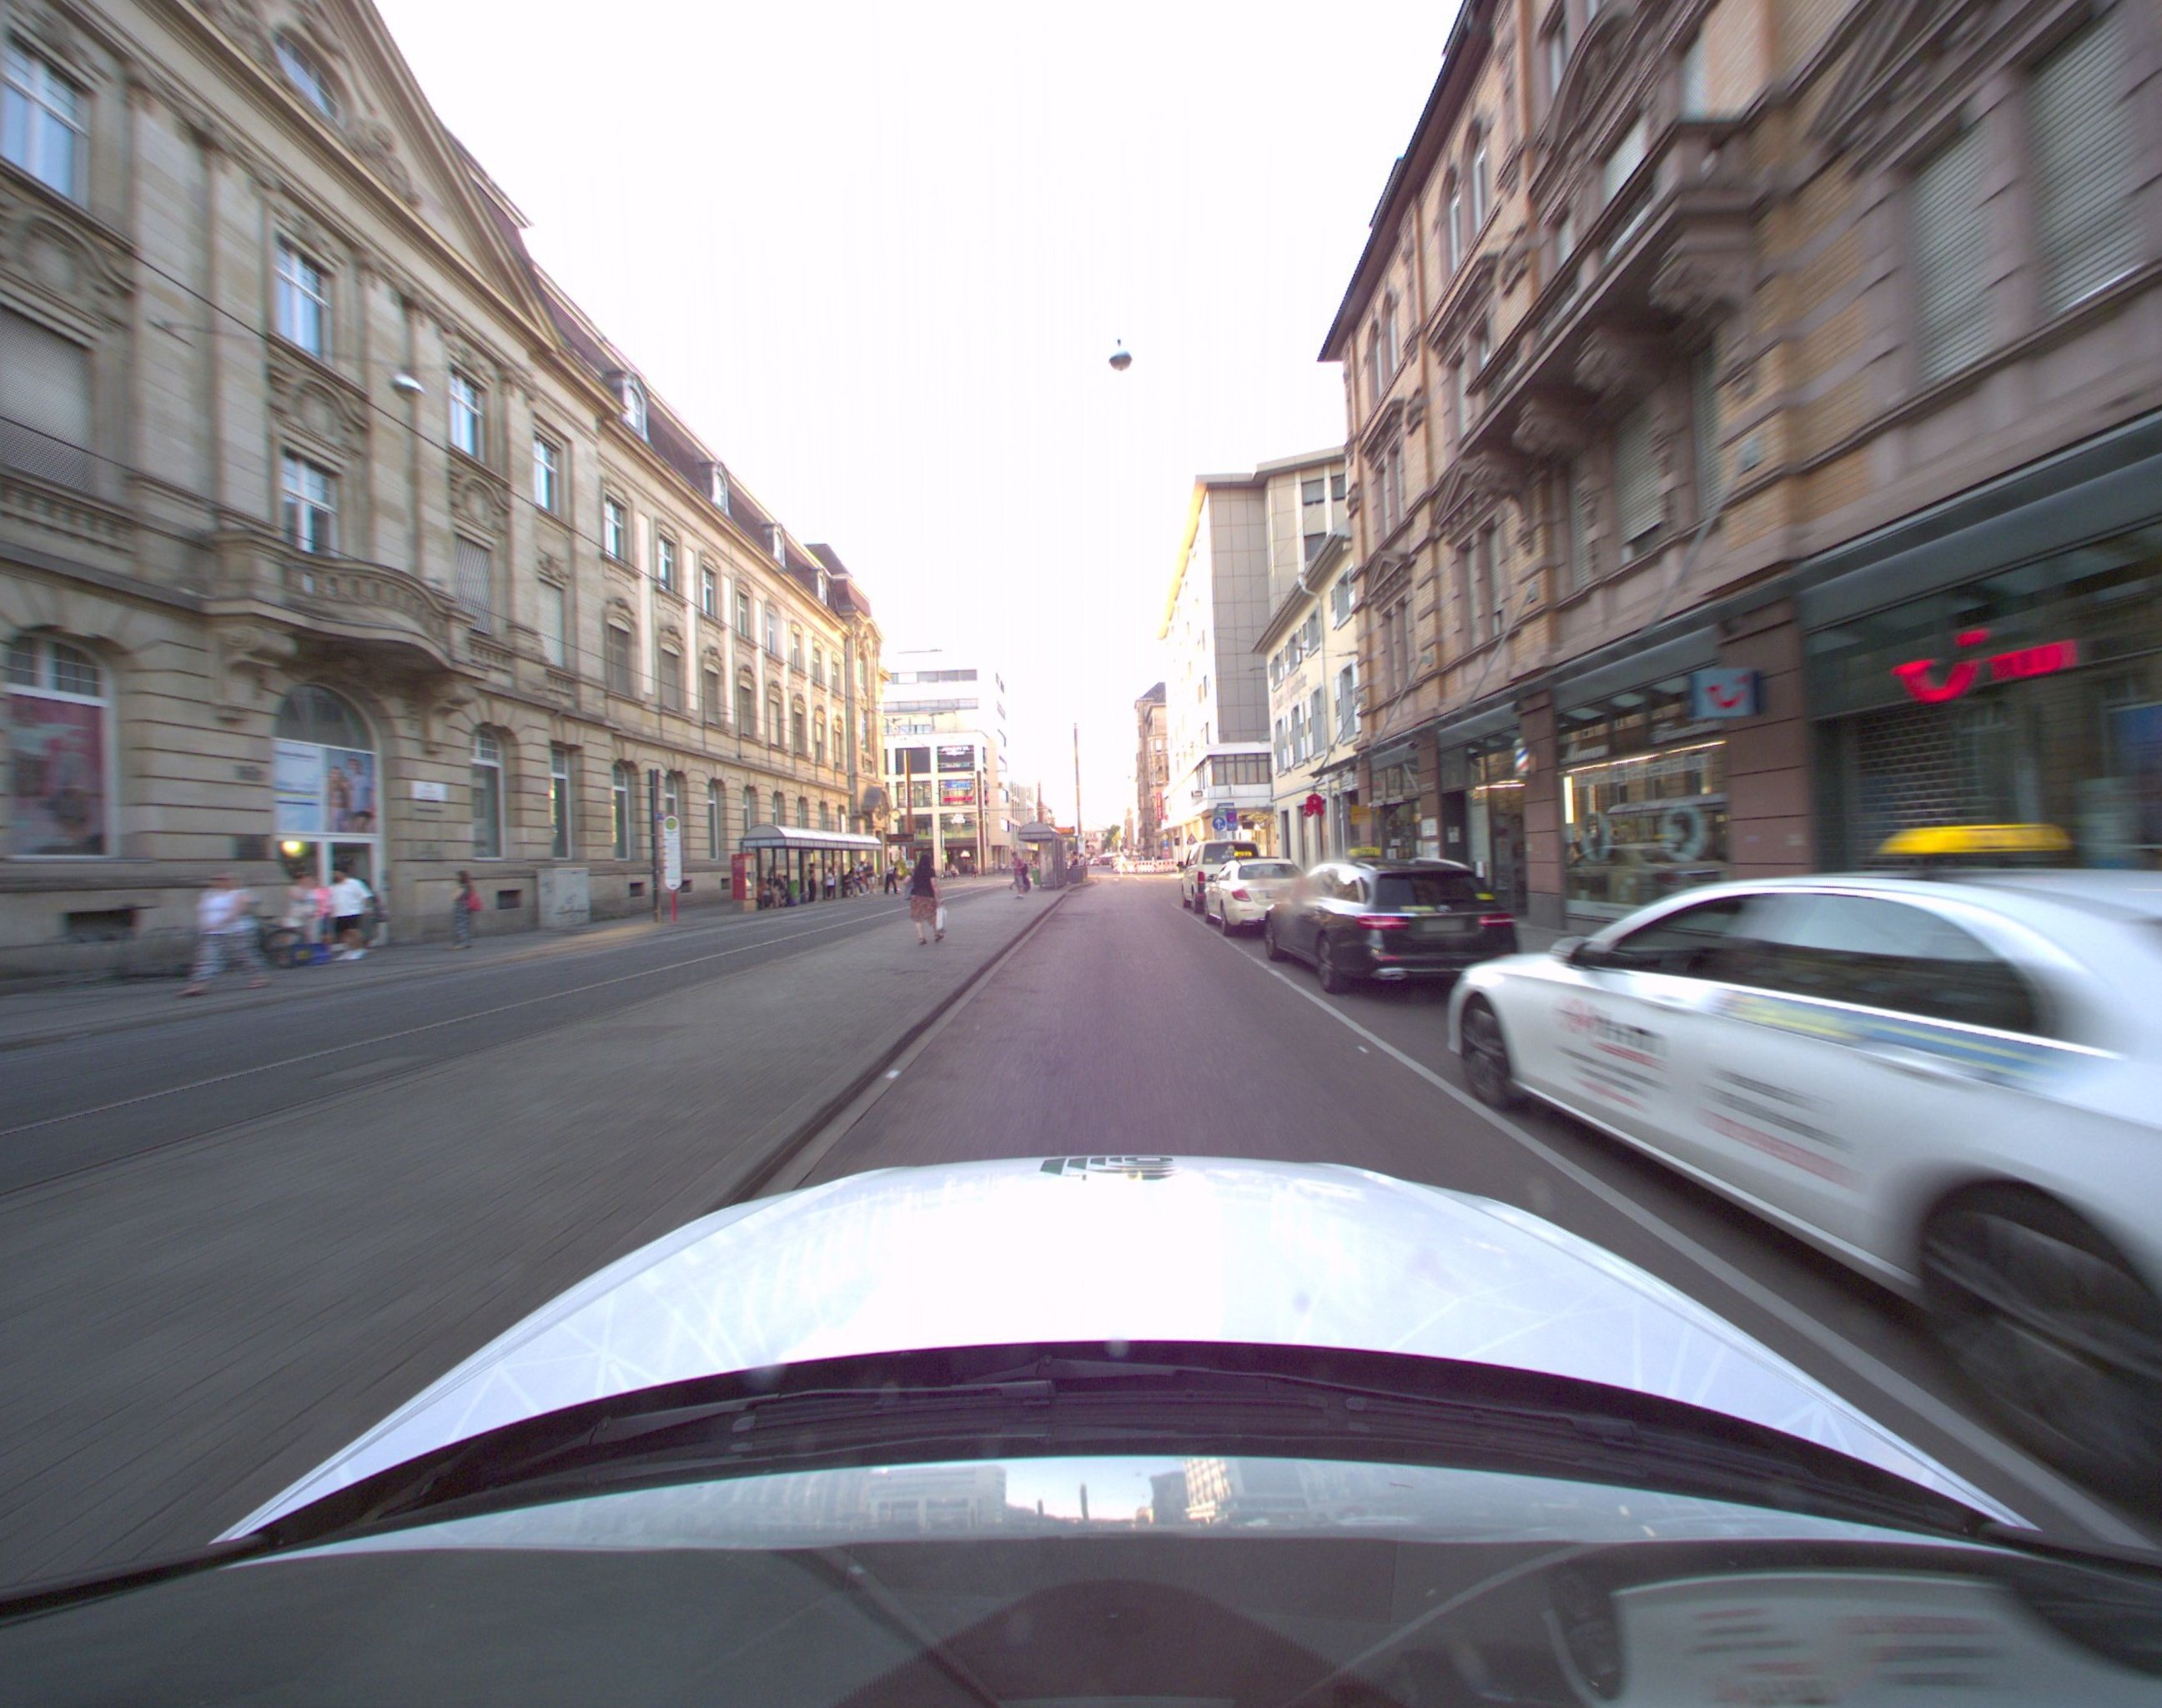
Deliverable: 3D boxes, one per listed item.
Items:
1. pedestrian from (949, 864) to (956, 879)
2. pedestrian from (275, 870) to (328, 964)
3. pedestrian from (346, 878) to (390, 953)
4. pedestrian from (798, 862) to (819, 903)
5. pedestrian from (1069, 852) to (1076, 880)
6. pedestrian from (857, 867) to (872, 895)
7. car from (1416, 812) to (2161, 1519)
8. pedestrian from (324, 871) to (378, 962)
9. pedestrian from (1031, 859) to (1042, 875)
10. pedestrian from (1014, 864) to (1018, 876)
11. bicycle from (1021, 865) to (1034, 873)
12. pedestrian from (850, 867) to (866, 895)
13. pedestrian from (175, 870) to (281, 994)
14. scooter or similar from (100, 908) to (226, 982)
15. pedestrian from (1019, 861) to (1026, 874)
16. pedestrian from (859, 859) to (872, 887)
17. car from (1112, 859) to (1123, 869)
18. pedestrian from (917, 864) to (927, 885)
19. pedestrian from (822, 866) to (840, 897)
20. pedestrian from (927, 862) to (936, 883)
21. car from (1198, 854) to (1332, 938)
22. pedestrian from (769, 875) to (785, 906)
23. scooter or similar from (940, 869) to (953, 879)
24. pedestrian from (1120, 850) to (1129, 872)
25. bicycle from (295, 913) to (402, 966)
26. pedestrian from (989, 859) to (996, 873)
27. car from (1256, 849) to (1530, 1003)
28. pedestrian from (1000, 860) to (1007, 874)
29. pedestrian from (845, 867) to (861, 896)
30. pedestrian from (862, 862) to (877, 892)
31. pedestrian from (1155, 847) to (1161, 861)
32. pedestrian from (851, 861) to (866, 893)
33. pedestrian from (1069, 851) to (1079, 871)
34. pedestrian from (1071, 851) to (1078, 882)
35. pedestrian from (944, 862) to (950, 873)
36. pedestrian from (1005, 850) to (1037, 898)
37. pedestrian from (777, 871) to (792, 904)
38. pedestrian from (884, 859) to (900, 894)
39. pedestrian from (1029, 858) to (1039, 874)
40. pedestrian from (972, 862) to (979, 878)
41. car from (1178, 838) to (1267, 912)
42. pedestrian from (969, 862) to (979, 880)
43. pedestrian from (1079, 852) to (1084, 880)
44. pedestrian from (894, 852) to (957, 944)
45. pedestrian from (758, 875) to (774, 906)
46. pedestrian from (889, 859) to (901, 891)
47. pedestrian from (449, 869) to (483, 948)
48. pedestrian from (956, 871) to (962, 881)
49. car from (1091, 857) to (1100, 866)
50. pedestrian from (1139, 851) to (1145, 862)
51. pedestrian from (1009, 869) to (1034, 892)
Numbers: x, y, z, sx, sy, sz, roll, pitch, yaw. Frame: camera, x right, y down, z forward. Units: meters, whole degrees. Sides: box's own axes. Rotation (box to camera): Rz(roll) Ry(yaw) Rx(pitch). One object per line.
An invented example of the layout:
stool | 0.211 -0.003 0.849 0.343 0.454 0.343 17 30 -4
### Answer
pedestrian | -12.642 1.703 80.140 0.636 1.420 0.419 -2 -1 3
pedestrian | -13.981 1.111 14.613 0.333 1.642 0.607 -1 -1 8
pedestrian | -14.139 1.208 16.156 0.435 1.440 0.575 -2 -1 38
pedestrian | -11.173 1.169 33.389 0.513 1.650 0.641 -2 -2 23
pedestrian | -0.506 0.730 48.584 0.384 1.642 0.549 -1 -1 -1
pedestrian | -10.698 1.320 40.223 0.515 1.327 0.639 -2 -1 5
car | 3.210 0.689 3.397 1.726 1.511 4.866 0 -1 1
pedestrian | -13.456 1.133 15.024 0.473 1.642 0.563 -1 -1 7
pedestrian | -4.468 1.299 82.157 0.826 1.614 0.686 -2 -1 -30
pedestrian | -8.417 2.054 105.397 0.388 1.515 0.505 -2 -1 0
bicycle | -7.304 2.032 111.804 1.689 1.122 0.451 -1 -1 3
pedestrian | -10.796 1.309 39.353 0.515 1.327 0.639 -2 -1 5
pedestrian | -11.318 1.012 10.832 0.657 1.562 0.680 -2 -1 1
scooter or similar | -14.021 1.384 12.444 1.539 1.068 0.451 -1 -1 6
pedestrian | -7.635 1.747 106.167 0.780 1.751 0.600 -1 -1 -2
pedestrian | -13.705 1.184 51.794 0.619 1.776 0.705 -2 -1 -2
car | 6.209 1.644 139.167 1.673 1.613 4.028 -3 -1 1
pedestrian | -11.604 1.480 59.396 0.513 1.525 0.504 -2 -1 41
pedestrian | -11.029 1.203 35.978 0.515 1.327 0.639 -2 -1 5
pedestrian | -10.748 1.324 58.522 0.526 1.525 0.500 -2 -1 -13
car | 3.629 0.758 16.922 1.799 1.483 4.779 0 0 1
pedestrian | -11.076 1.313 29.654 0.362 1.102 0.430 -1 -1 7
scooter or similar | -13.122 1.974 79.621 1.089 0.904 0.891 -2 -1 2
pedestrian | 3.631 0.606 68.230 0.696 1.815 0.852 -1 -1 2
bicycle | -12.907 1.498 14.354 1.567 0.874 0.451 -1 -1 6
pedestrian | -11.595 1.571 106.933 0.569 1.855 0.819 -1 -1 13
car | 3.557 0.738 10.358 1.720 1.477 4.821 -1 -1 1
pedestrian | -9.217 1.561 96.737 0.644 1.674 0.531 -2 -1 9
pedestrian | -10.815 1.299 38.585 0.515 1.327 0.639 -2 -1 5
pedestrian | -11.239 1.229 43.295 0.515 1.569 0.639 -2 -1 5
pedestrian | 9.511 -0.046 100.109 0.623 1.690 0.671 -2 -1 -1
pedestrian | -11.607 1.207 42.534 0.515 1.646 0.639 -2 -1 5
pedestrian | -0.581 0.569 67.327 0.698 1.693 0.540 -1 -1 -6
pedestrian | -0.364 0.698 45.570 0.411 1.767 0.594 -1 -1 -1
pedestrian | -18.048 1.825 109.884 0.569 1.526 0.793 -1 -1 13
pedestrian | -2.145 0.707 29.051 0.679 1.638 0.866 -2 -1 42
pedestrian | -11.098 1.256 30.501 0.362 1.200 0.430 -1 -1 7
pedestrian | -9.297 1.102 40.105 0.674 1.691 0.636 -2 -1 -7
pedestrian | -4.827 1.200 82.892 0.773 1.614 0.662 -2 -1 -24
pedestrian | -10.252 1.547 79.069 0.568 1.593 0.448 -2 -1 -2
car | 3.956 0.583 23.559 1.870 1.923 4.700 0 -1 1
pedestrian | -10.294 1.635 78.428 0.741 1.700 0.610 -2 -1 0
pedestrian | 0.030 0.760 51.398 0.340 1.796 0.544 -1 -1 -1
pedestrian | -2.662 0.736 14.045 0.843 1.501 0.901 -2 -1 1
pedestrian | -11.248 1.307 29.071 0.362 1.102 0.430 -1 -1 7
pedestrian | -10.585 1.207 46.277 0.558 1.776 0.468 -2 -1 -3
pedestrian | -12.762 1.117 16.902 0.564 1.605 0.443 -2 -1 39
pedestrian | -11.967 2.126 79.986 0.420 0.965 0.419 -2 -1 3
car | 3.416 1.684 186.809 1.987 1.904 4.000 -1 -1 1
pedestrian | 8.507 0.358 113.348 0.709 1.611 0.821 -1 -1 -1
pedestrian | -2.493 1.120 34.087 0.791 0.939 0.697 -2 -1 24
